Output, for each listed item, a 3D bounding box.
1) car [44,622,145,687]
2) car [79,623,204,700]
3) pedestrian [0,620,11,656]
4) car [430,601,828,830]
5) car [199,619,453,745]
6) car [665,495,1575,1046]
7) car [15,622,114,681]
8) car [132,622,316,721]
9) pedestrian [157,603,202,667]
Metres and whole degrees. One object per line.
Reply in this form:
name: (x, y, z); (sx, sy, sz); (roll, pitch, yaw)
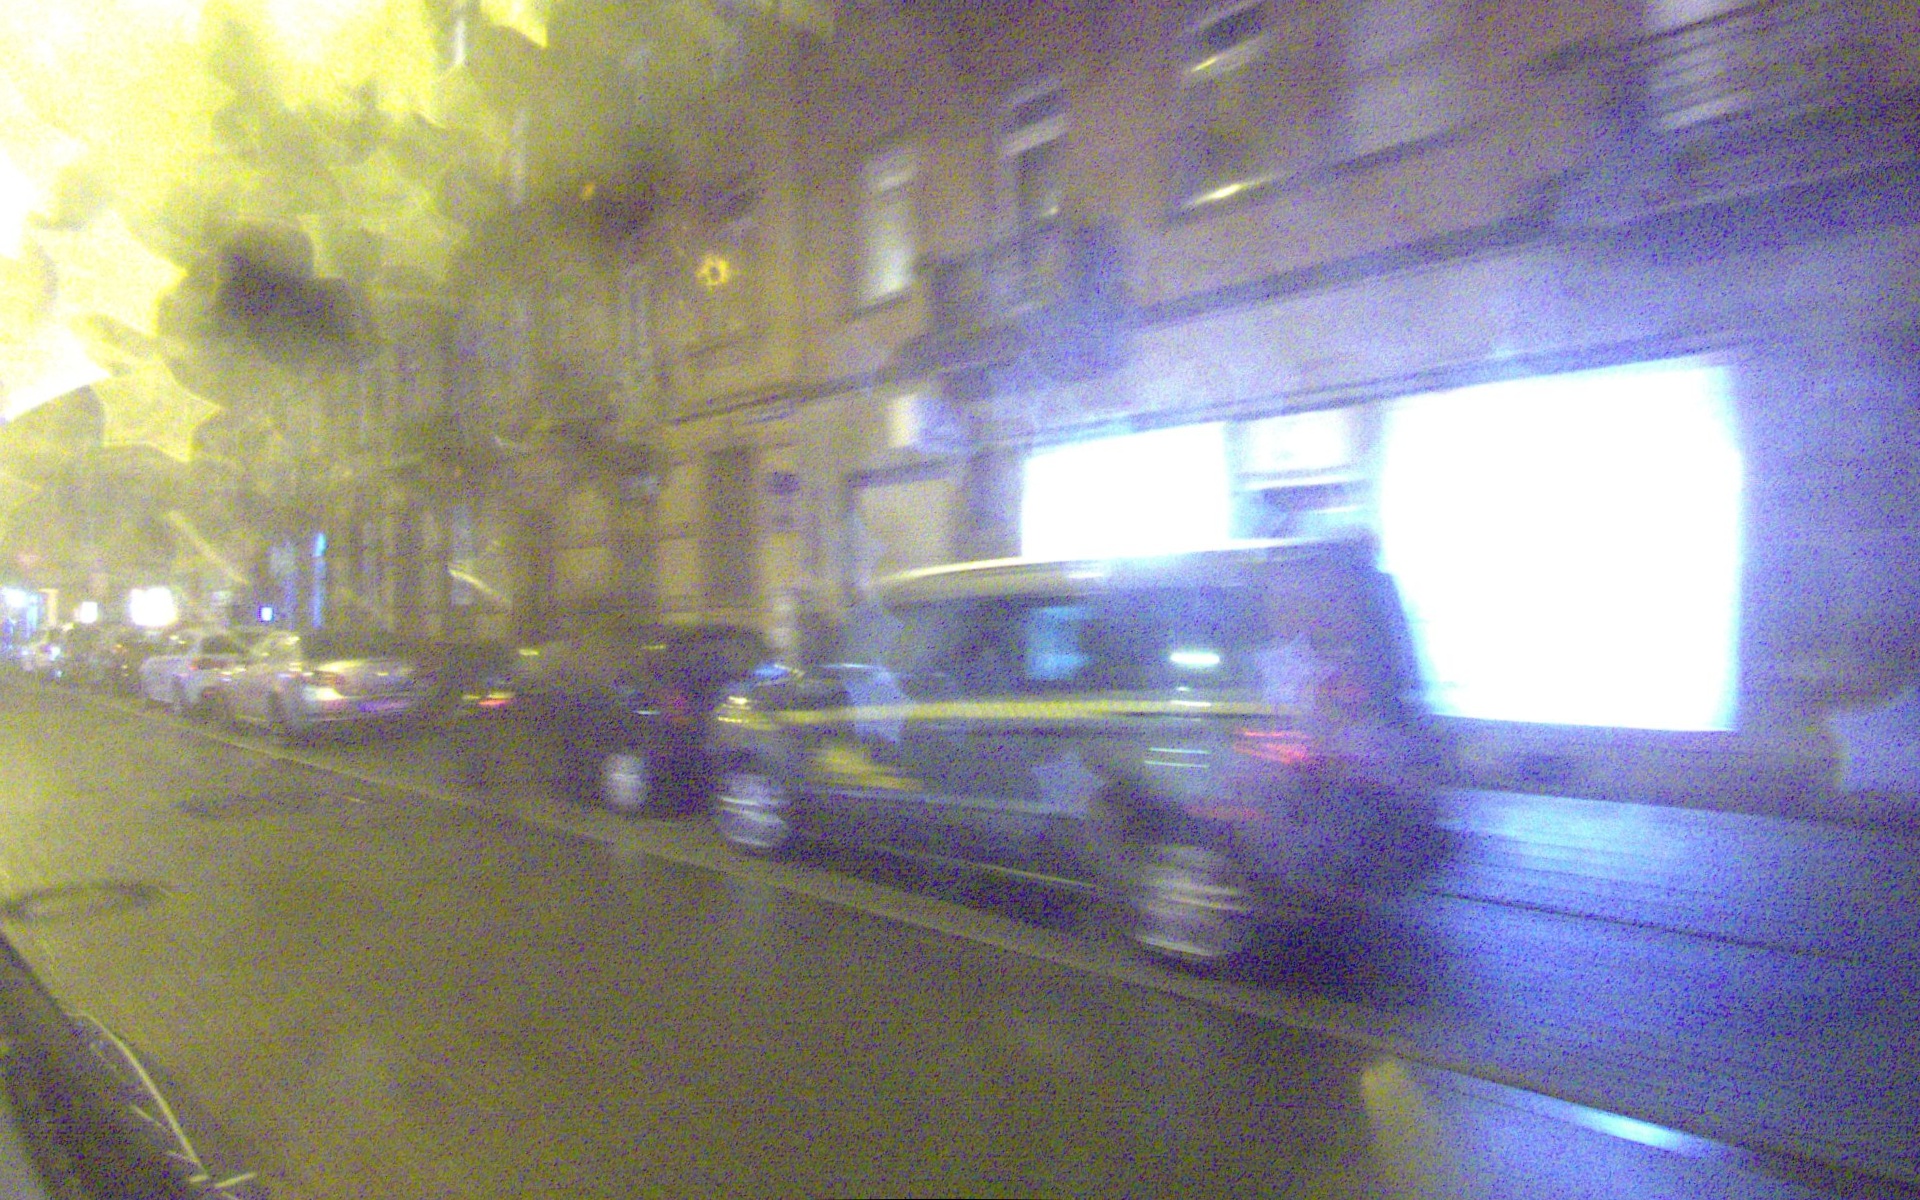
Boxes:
car: (-21.792, 1.354, 25.448); (1.673, 1.490, 3.385); (0, -2, -45)
car: (-17.237, 1.237, 21.268); (3.382, 1.464, 1.512); (-2, -1, 42)
pedestrian: (-53.675, 2.127, 56.618); (0.587, 2.028, 0.766); (-1, 1, 41)
car: (-3.043, 0.844, 8.942); (3.718, 1.587, 1.708); (-2, -1, 42)
car: (-8.661, 0.991, 13.649); (4.553, 1.402, 1.708); (-2, -1, 42)
car: (0.493, 0.620, 5.720); (4.827, 1.843, 1.882); (-2, -1, 42)
car: (-24.863, 1.432, 28.053); (3.962, 1.490, 1.674); (-3, -2, 43)
car: (-12.713, 1.143, 17.380); (4.271, 1.464, 1.708); (-2, -1, 42)
pedestrian: (-22.954, 1.014, 29.760); (0.629, 1.801, 0.900); (-1, 1, 42)
